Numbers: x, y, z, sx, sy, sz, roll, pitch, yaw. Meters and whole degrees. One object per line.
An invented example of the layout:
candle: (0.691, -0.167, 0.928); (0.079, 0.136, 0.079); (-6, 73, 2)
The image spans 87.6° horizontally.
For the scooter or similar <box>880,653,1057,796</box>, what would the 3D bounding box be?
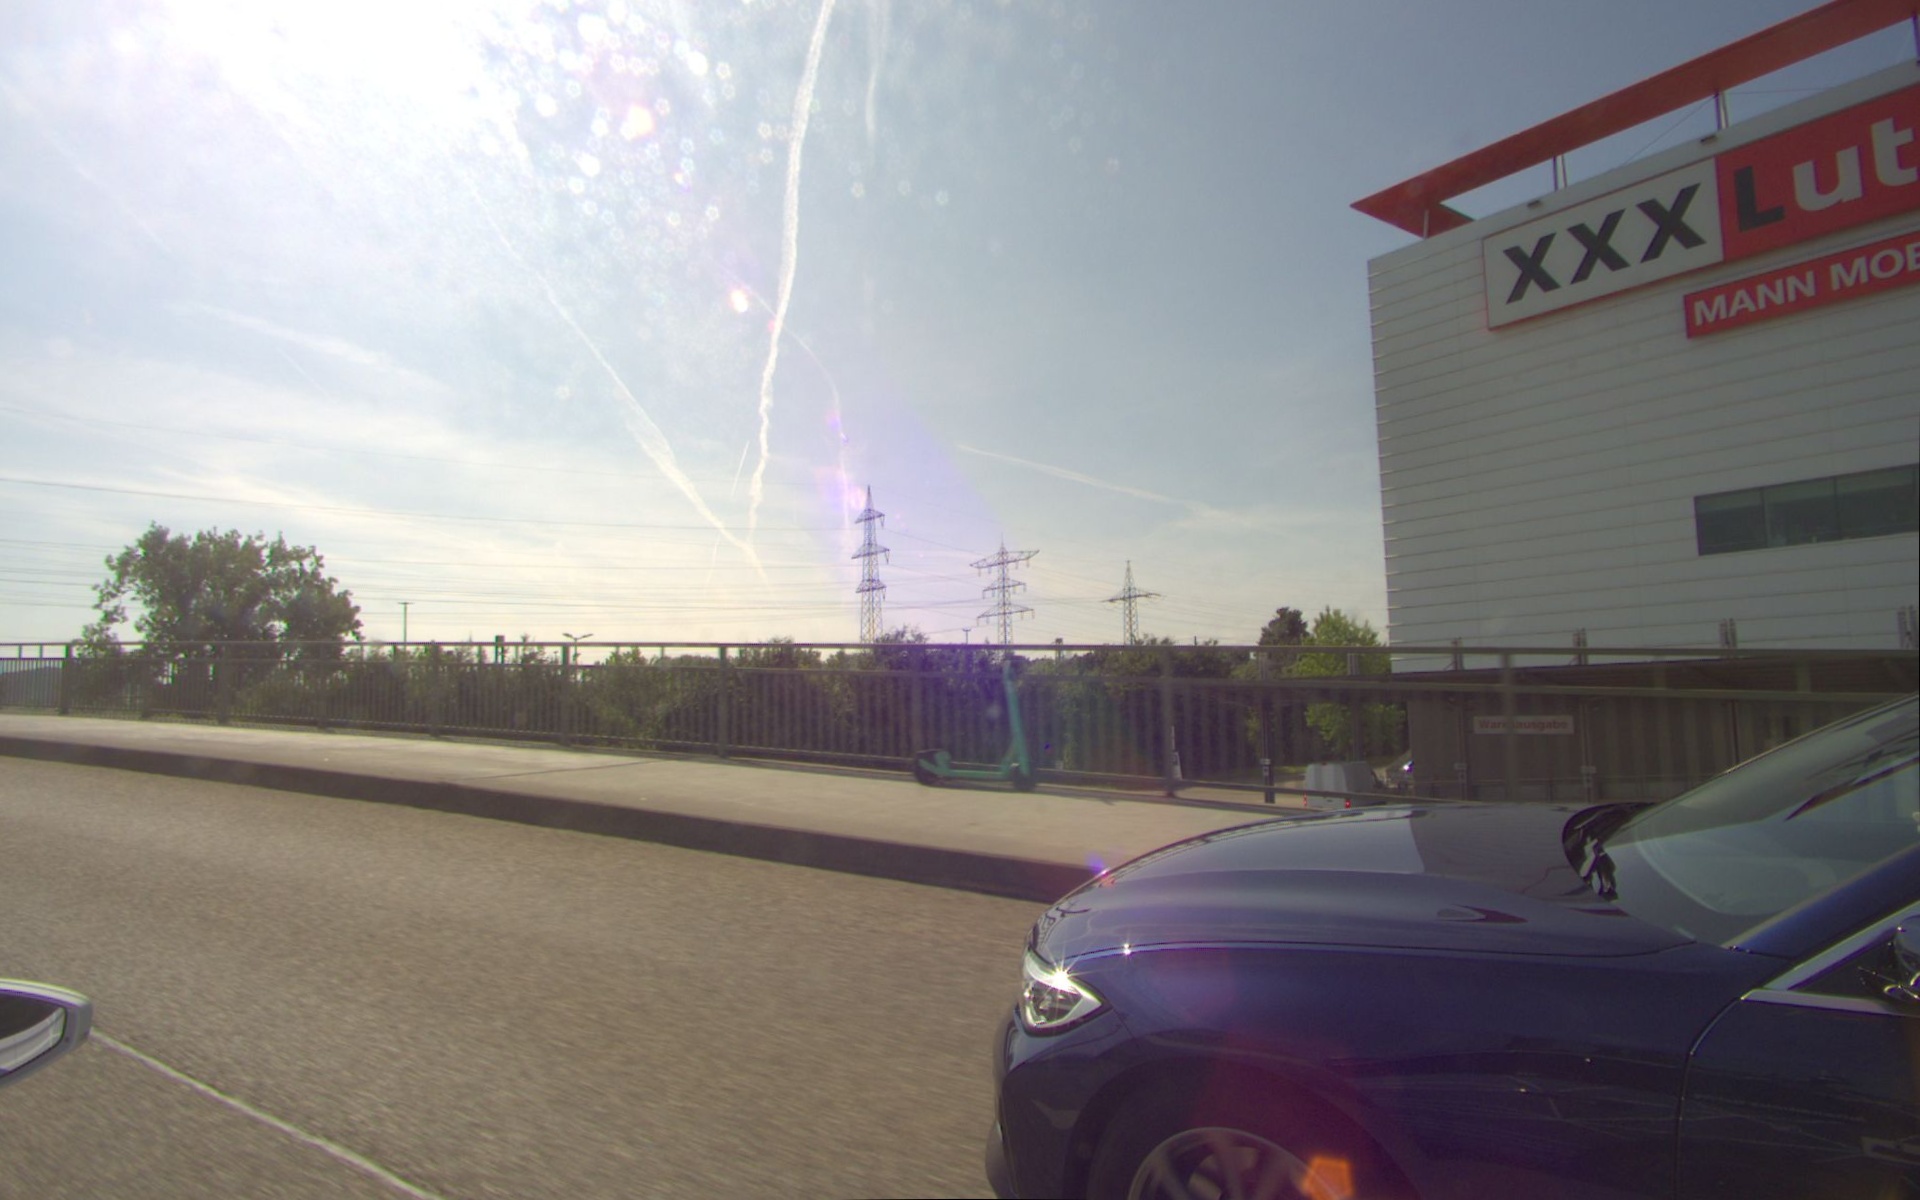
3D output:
scooter or similar: (0.074, 1.060, 8.776); (1.457, 1.156, 0.512); (0, -3, 23)

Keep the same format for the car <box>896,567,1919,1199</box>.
car: (2.218, 0.724, 1.696); (4.459, 1.500, 1.785); (-5, -6, 32)

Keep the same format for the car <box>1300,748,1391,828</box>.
car: (17.148, 8.203, 44.321); (2.106, 2.960, 5.977); (-5, -7, 37)
